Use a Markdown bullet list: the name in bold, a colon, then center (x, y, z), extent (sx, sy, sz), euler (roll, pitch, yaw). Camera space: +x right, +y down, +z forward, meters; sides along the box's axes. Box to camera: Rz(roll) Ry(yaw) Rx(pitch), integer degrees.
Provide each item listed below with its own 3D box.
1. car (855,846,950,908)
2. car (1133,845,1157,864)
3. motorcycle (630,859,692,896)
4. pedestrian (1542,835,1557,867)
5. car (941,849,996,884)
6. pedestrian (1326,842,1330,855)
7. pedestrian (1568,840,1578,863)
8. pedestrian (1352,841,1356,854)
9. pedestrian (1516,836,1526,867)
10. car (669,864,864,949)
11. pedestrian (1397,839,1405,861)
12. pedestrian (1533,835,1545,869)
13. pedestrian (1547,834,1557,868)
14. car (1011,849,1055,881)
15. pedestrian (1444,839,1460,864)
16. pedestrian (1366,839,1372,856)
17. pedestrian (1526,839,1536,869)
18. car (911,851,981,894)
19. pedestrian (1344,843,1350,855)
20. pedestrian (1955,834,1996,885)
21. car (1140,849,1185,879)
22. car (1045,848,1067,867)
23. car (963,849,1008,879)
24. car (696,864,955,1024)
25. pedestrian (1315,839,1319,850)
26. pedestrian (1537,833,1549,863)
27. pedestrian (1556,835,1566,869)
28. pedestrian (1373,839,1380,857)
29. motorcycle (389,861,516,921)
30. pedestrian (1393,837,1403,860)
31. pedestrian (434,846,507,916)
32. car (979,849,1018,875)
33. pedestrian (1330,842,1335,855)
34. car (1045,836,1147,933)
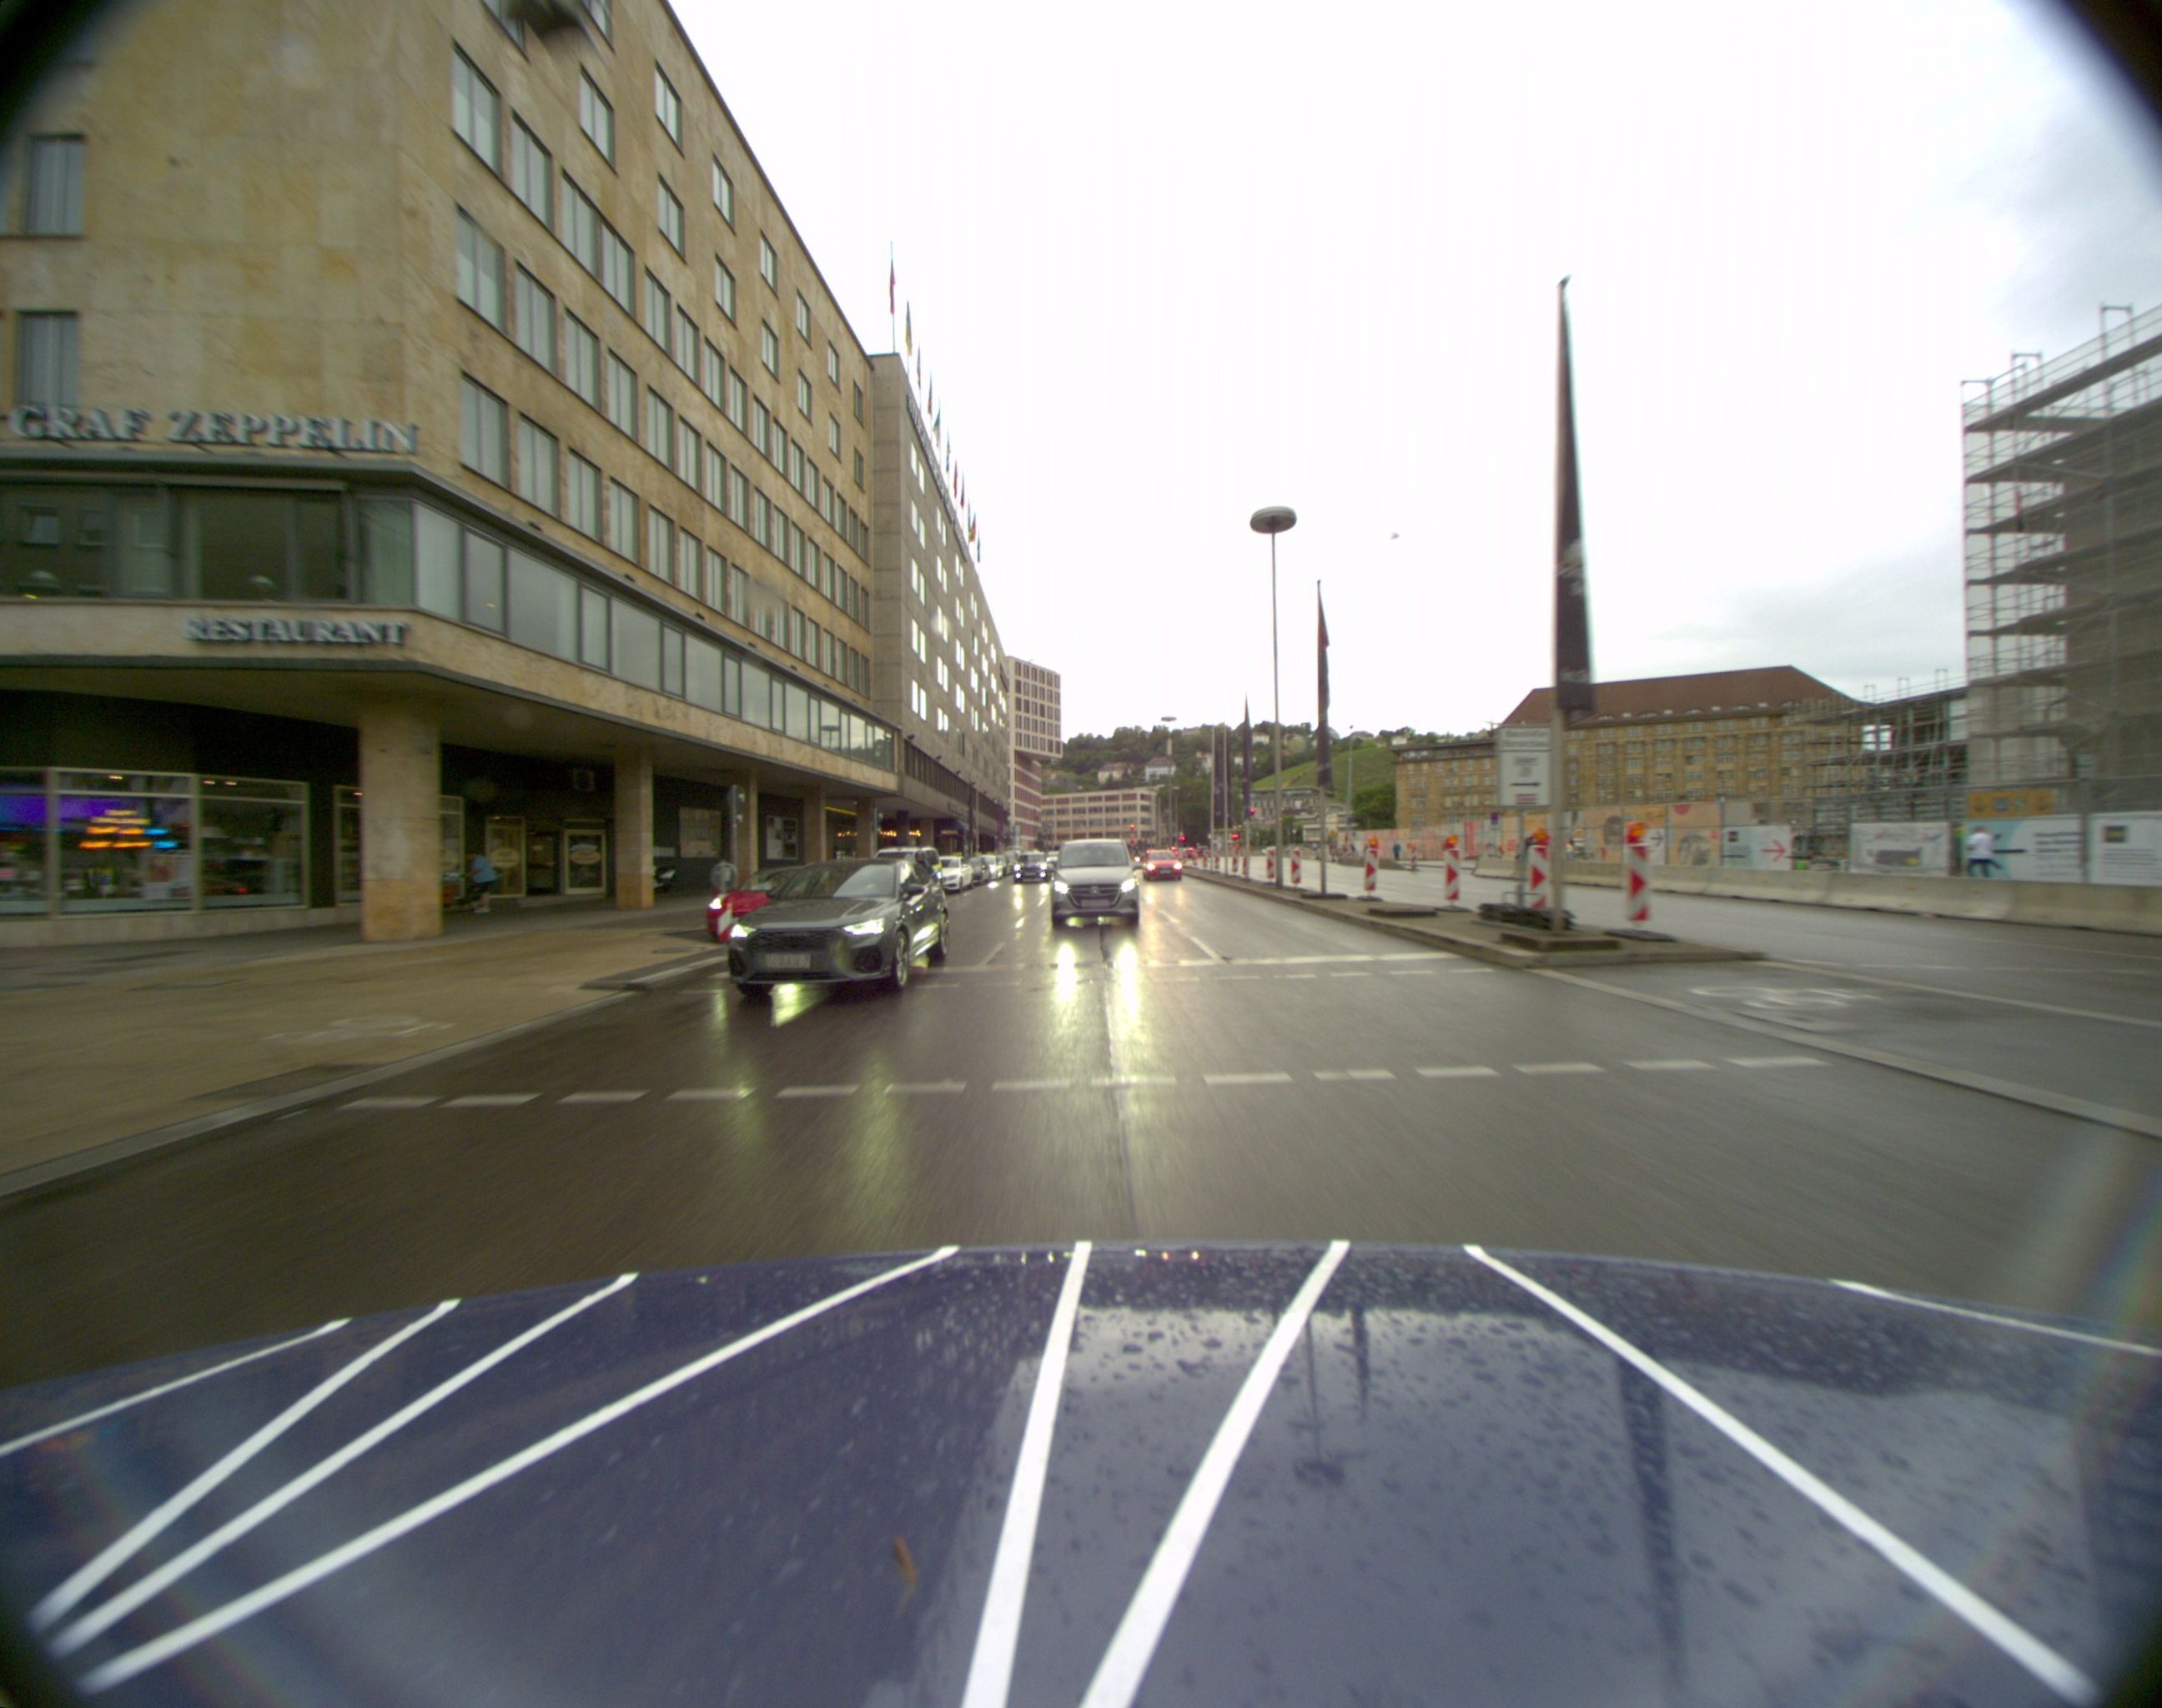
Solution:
- **car**: center (-5.963, 0.682, 26.015), extent (1.998, 1.873, 4.996), euler (-1, 0, 0)
- **car**: center (5.221, 0.019, 62.264), extent (1.672, 1.513, 3.724), euler (-2, 1, 1)
- **motorcycle**: center (-15.049, 0.826, 27.316), extent (0.730, 1.223, 2.536), euler (-1, 1, 1)
- **pedestrian**: center (26.150, -0.164, 42.423), extent (0.517, 1.745, 0.463), euler (-2, 1, 0)
- **car**: center (-5.609, 0.595, 38.417), extent (1.998, 1.627, 4.559), euler (-1, 0, 0)
- **pedestrian**: center (29.629, -0.646, 91.261), extent (0.375, 1.606, 0.357), euler (-1, 1, 0)
- **pedestrian**: center (25.425, -0.126, 39.265), extent (0.255, 1.187, 0.390), euler (-2, 1, 6)
- **pedestrian**: center (28.735, -0.673, 80.075), extent (0.271, 1.303, 0.351), euler (-1, 1, 0)
- **pedestrian**: center (24.705, -0.137, 42.658), extent (0.367, 1.759, 0.390), euler (-1, 1, 4)
- **car**: center (-6.368, 0.982, 16.062), extent (2.194, 1.405, 4.482), euler (-1, 0, 0)
- **pedestrian**: center (29.757, -0.397, 70.639), extent (0.542, 2.002, 0.490), euler (-2, 1, 0)
- **pedestrian**: center (24.038, -0.095, 39.885), extent (0.368, 1.759, 0.365), euler (-1, 1, 2)
- **pedestrian**: center (24.633, -0.180, 39.743), extent (0.311, 1.759, 0.346), euler (-1, 1, 4)
- **car**: center (-2.479, 0.554, 40.149), extent (1.998, 1.549, 3.908), euler (-1, 1, 0)
- **pedestrian**: center (25.668, -0.184, 52.545), extent (0.807, 1.675, 0.617), euler (-1, 1, 4)
- **pedestrian**: center (27.784, -0.629, 73.360), extent (0.438, 1.606, 0.413), euler (-1, 1, 0)
- **pedestrian**: center (23.665, -0.001, 39.956), extent (0.350, 1.606, 0.321), euler (-1, 1, 1)
- **car**: center (-5.665, 0.710, 32.441), extent (1.998, 1.644, 5.134), euler (-1, 0, 0)
- **pedestrian**: center (29.489, -0.560, 84.273), extent (0.438, 1.407, 0.413), euler (-1, 1, 0)
- **pedestrian**: center (25.618, 0.163, 21.767), extent (0.565, 1.435, 0.528), euler (-1, 1, 8)
- **car**: center (3.928, 0.438, 37.125), extent (1.747, 1.369, 4.000), euler (-1, 0, 1)
- **car**: center (-2.206, 0.306, 68.873), extent (1.763, 1.582, 3.842), euler (-2, 1, 1)
- **car**: center (-5.508, 0.560, 44.450), extent (1.998, 1.600, 4.875), euler (-1, 0, 0)
- **car**: center (-2.934, 0.947, 9.795), extent (1.876, 1.499, 4.164), euler (-1, 0, 0)
- **pedestrian**: center (31.917, -1.282, 102.817), extent (0.334, 1.606, 0.323), euler (-1, 1, 0)
- **pedestrian**: center (24.555, -0.323, 40.395), extent (0.400, 1.611, 0.365), euler (-2, 1, 5)
- **pedestrian**: center (24.992, -0.120, 39.566), extent (0.314, 1.760, 0.268), euler (-2, 1, 4)
- **pedestrian**: center (26.722, -0.520, 68.640), extent (0.438, 1.606, 0.413), euler (-1, 1, 0)
- **motorcycle**: center (-16.803, 0.931, 20.458), extent (0.964, 1.444, 2.850), euler (-1, 1, 1)
- **pedestrian**: center (28.215, -0.454, 67.689), extent (0.593, 2.022, 0.686), euler (-1, 1, 0)
- **pedestrian**: center (-16.413, 0.710, 20.457), extent (1.000, 1.836, 1.109), euler (0, 1, 2)
- **car**: center (-5.423, 0.472, 50.476), extent (1.998, 1.605, 4.918), euler (-1, 0, 0)
- **pedestrian**: center (30.174, -0.680, 91.152), extent (0.387, 1.606, 0.413), euler (-1, 1, 0)
- **car**: center (0.192, 0.607, 18.134), extent (1.999, 1.893, 5.249), euler (-3, 0, -3)
